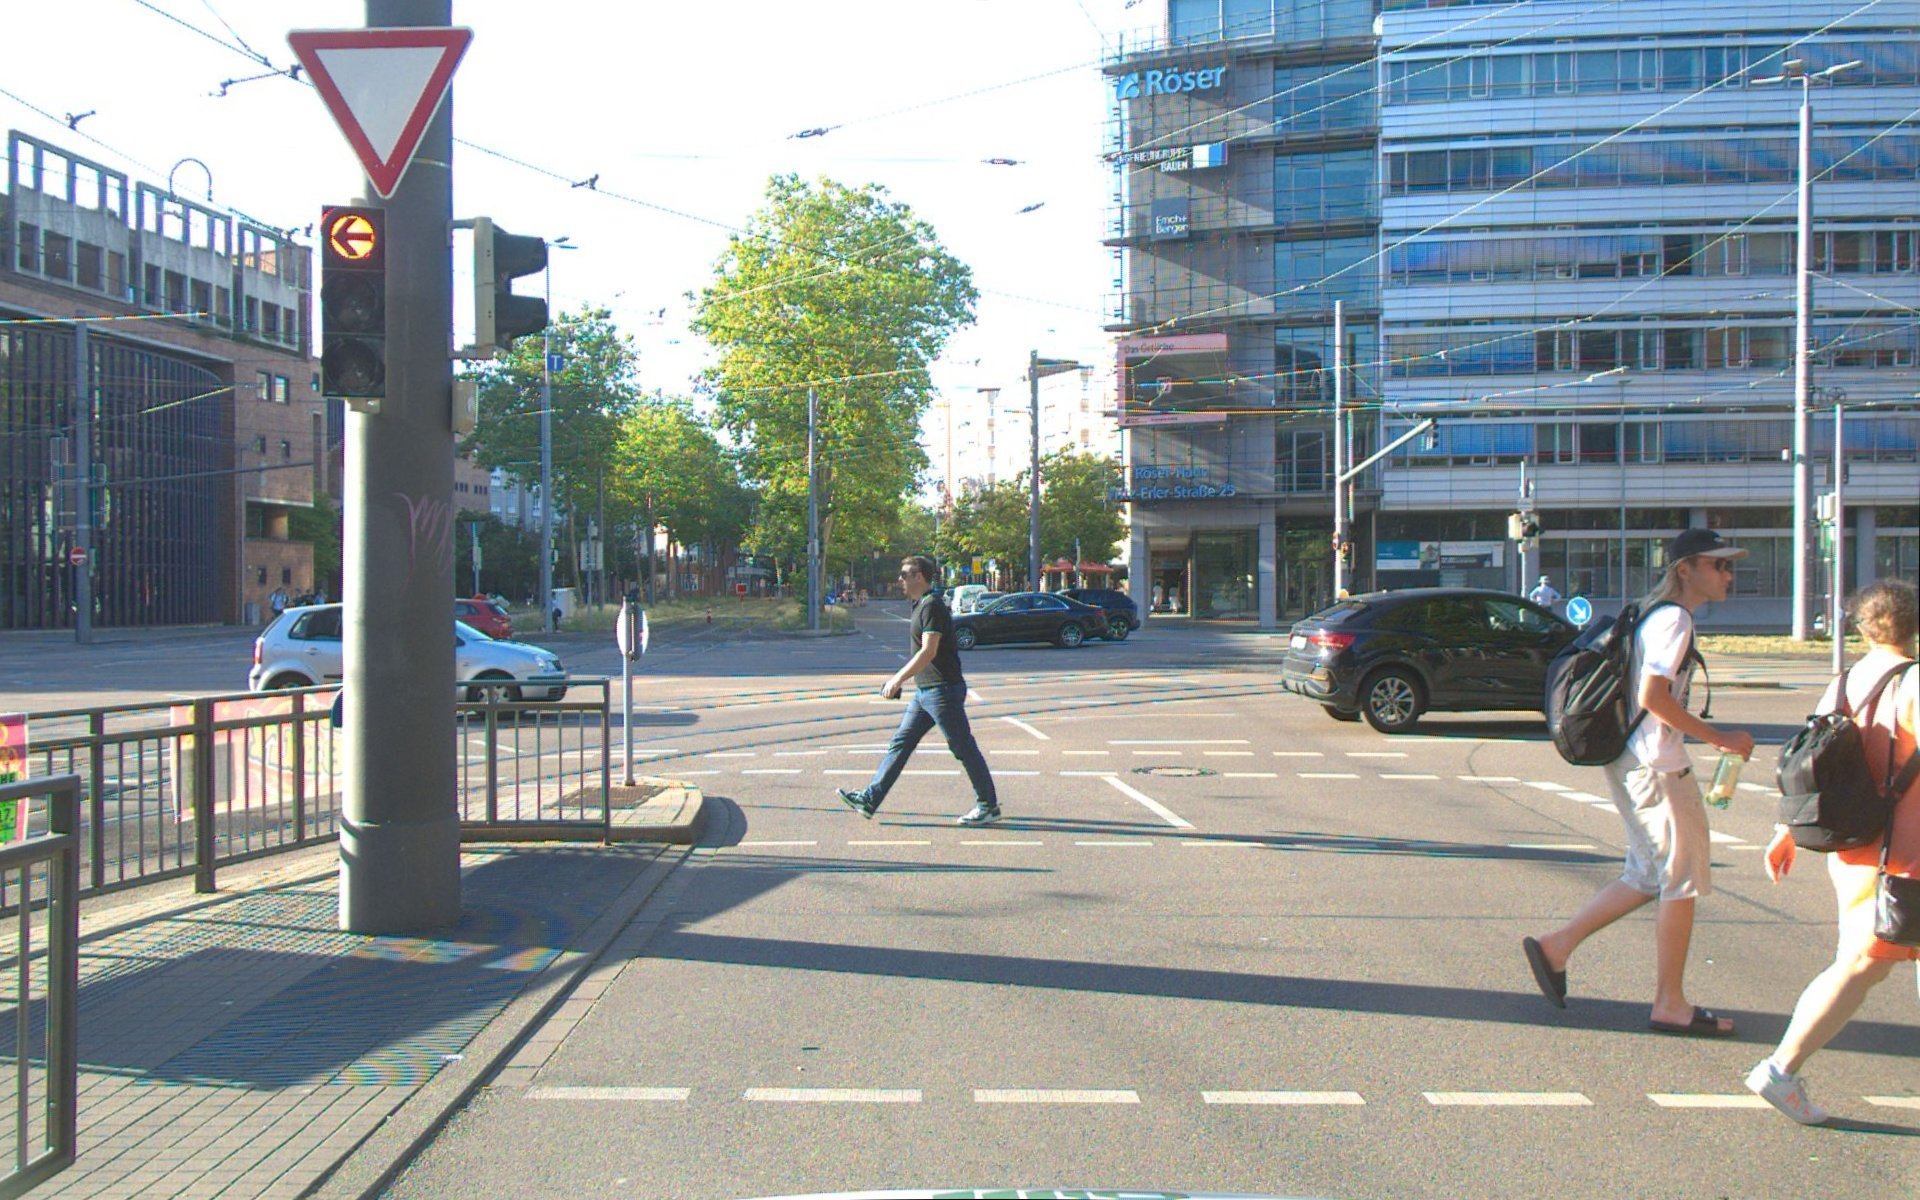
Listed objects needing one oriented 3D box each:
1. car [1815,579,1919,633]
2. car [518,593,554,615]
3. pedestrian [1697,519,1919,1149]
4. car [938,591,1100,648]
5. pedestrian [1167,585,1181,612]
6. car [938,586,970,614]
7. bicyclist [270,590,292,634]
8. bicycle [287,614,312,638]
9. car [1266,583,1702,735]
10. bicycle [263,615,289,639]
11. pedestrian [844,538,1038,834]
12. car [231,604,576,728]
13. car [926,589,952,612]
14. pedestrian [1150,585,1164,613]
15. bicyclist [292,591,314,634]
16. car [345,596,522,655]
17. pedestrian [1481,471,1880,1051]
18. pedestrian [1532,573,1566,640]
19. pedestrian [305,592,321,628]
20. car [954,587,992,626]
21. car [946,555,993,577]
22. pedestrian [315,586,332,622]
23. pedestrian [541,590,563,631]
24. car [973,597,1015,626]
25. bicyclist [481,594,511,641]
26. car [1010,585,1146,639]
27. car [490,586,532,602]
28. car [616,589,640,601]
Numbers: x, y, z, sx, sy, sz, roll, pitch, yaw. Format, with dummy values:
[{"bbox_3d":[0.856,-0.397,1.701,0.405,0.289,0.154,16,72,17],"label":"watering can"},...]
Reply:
[{"bbox_3d":[25.557,0.143,44.525,4.151,1.417,1.796,-1,0,4],"label":"car"},{"bbox_3d":[-29.916,0.259,116.806,1.955,1.534,3.994,-1,0,-6],"label":"car"},{"bbox_3d":[2.920,0.647,4.949,1.052,1.711,0.756,1,-1,-8],"label":"pedestrian"},{"bbox_3d":[1.600,0.520,45.483,4.164,1.459,1.791,-1,0,-11],"label":"car"},{"bbox_3d":[11.589,-0.082,89.516,0.691,1.491,0.384,-1,0,8],"label":"pedestrian"},{"bbox_3d":[-0.382,-0.007,105.005,1.953,1.691,3.999,-1,0,-1],"label":"car"},{"bbox_3d":[-26.756,0.469,65.217,0.582,1.705,0.788,-1,0,-7],"label":"bicyclist"},{"bbox_3d":[-26.111,1.006,65.423,0.503,0.897,1.835,-1,0,-8],"label":"bicycle"},{"bbox_3d":[5.889,0.628,18.895,4.393,1.611,1.824,0,0,-4],"label":"car"},{"bbox_3d":[-26.905,1.038,65.106,0.503,0.897,1.835,-1,0,-8],"label":"bicycle"},{"bbox_3d":[-0.152,0.535,10.938,1.185,1.854,1.040,0,0,-6],"label":"pedestrian"},{"bbox_3d":[-6.967,0.798,21.050,3.833,1.459,1.823,0,0,-6],"label":"car"},{"bbox_3d":[-1.640,0.024,126.702,1.953,1.691,3.999,-1,0,-1],"label":"car"},{"bbox_3d":[10.685,-0.045,89.801,0.723,1.491,0.537,-1,0,8],"label":"pedestrian"},{"bbox_3d":[-26.013,0.485,65.484,0.582,1.705,0.788,-1,0,-7],"label":"bicyclist"},{"bbox_3d":[-13.666,0.648,43.163,4.164,1.417,1.791,-1,0,-11],"label":"car"},{"bbox_3d":[2.525,0.538,5.874,1.053,1.904,0.737,1,-1,-8],"label":"pedestrian"},{"bbox_3d":[15.253,0.167,42.818,0.704,1.711,0.557,1,0,6],"label":"pedestrian"},{"bbox_3d":[-32.980,0.509,84.296,0.511,1.810,0.546,-1,0,6],"label":"pedestrian"},{"bbox_3d":[0.672,0.317,89.705,1.953,2.026,3.999,-1,0,-1],"label":"car"},{"bbox_3d":[0.840,-2.924,141.261,3.681,1.780,1.783,1,0,14],"label":"car"},{"bbox_3d":[-32.880,0.183,85.482,0.627,1.842,0.546,-1,0,6],"label":"pedestrian"},{"bbox_3d":[-15.372,0.400,62.366,0.740,1.557,0.507,1,0,-8],"label":"pedestrian"},{"bbox_3d":[1.663,0.567,82.881,1.953,1.355,3.999,-1,0,-1],"label":"car"},{"bbox_3d":[-13.912,0.521,49.565,0.809,1.390,0.397,-1,0,-27],"label":"bicyclist"},{"bbox_3d":[3.560,0.349,50.121,3.791,1.533,1.791,-1,0,-11],"label":"car"},{"bbox_3d":[-46.310,-0.602,170.621,3.948,1.579,1.589,1,0,-32],"label":"car"},{"bbox_3d":[-43.530,-0.629,216.845,1.951,1.534,4.003,-1,0,7],"label":"car"}]
